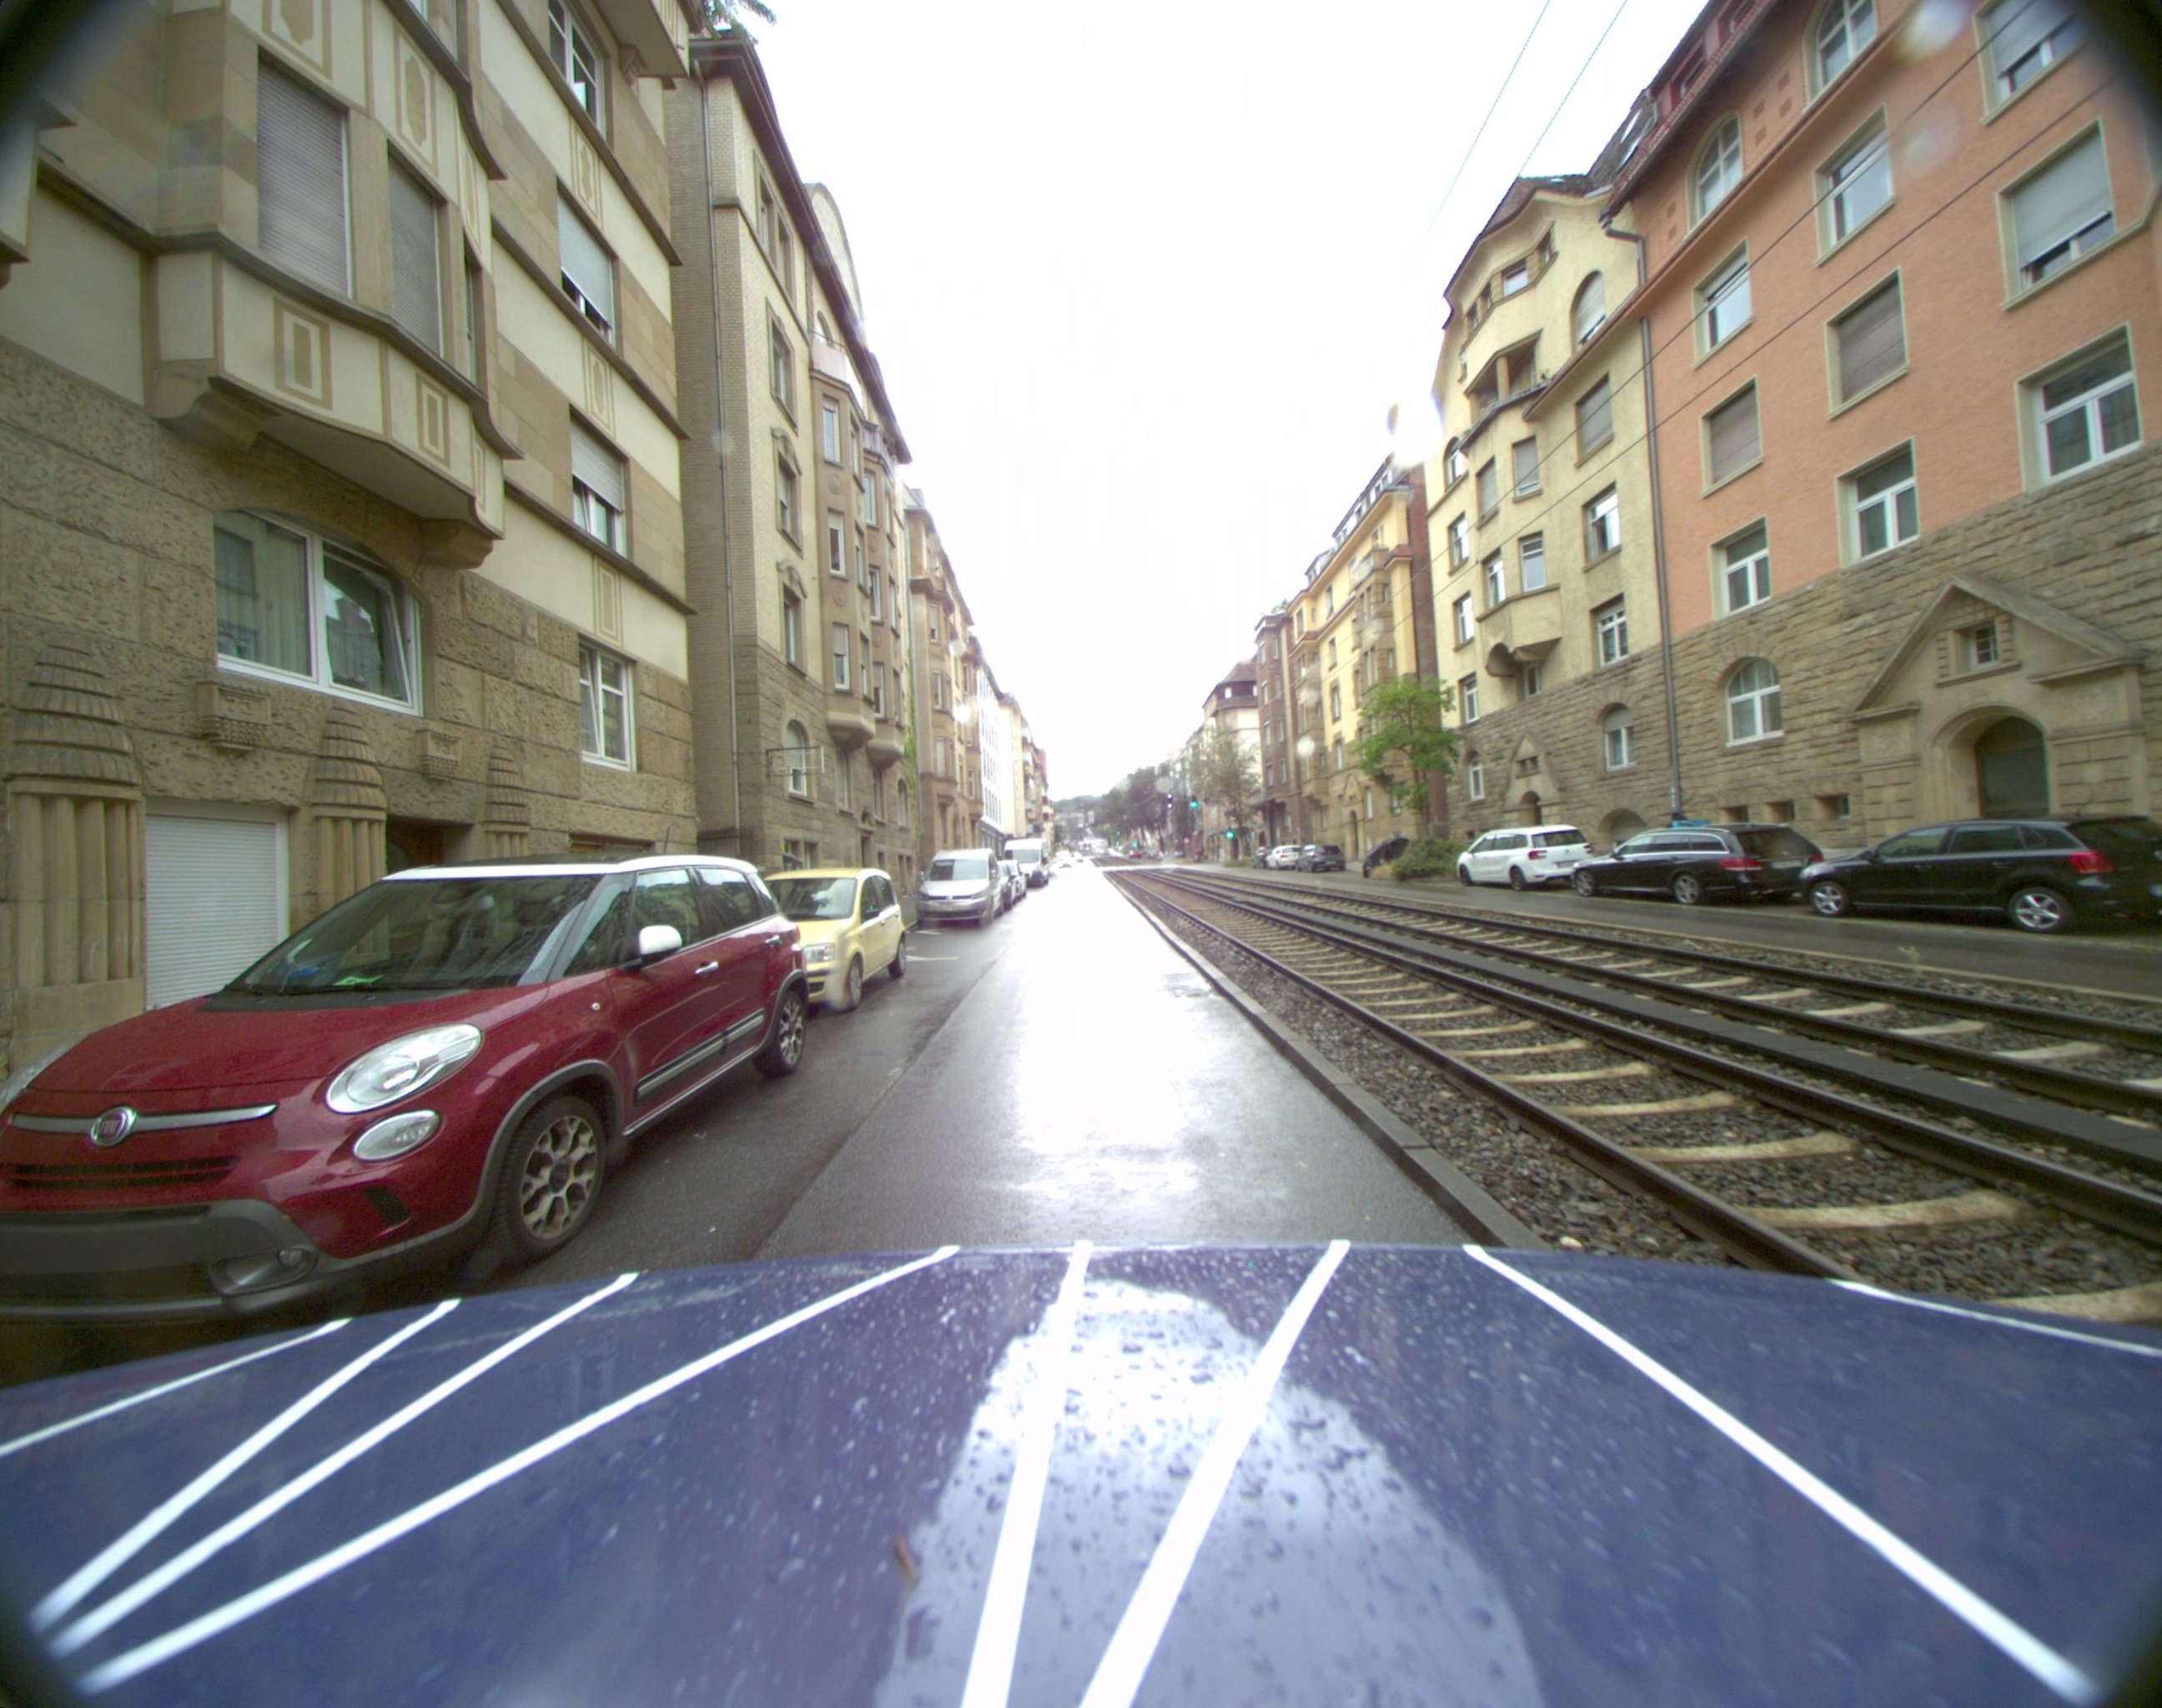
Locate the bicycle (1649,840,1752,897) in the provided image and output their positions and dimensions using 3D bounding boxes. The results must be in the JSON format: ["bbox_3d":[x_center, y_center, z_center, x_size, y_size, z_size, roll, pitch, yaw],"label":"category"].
[{"bbox_3d":[14.118,0.302,17.403,0.825,1.179,2.038,-3,0,6],"label":"bicycle"}]

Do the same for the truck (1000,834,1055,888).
[{"bbox_3d":[-2.716,0.340,39.939,2.235,2.521,6.143,-3,0,1],"label":"truck"}]

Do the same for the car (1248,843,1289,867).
[{"bbox_3d":[12.490,0.054,50.740,1.771,1.433,3.845,-3,0,1],"label":"car"}]

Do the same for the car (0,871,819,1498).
[{"bbox_3d":[-3.028,0.979,4.086,1.807,1.590,3.999,-3,0,-1],"label":"car"}]

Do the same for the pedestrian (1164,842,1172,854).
[{"bbox_3d":[14.759,-0.982,128.706,1.056,1.946,1.163,-3,1,2],"label":"pedestrian"}]

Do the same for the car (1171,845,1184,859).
[{"bbox_3d":[12.683,-0.257,99.537,1.583,1.669,3.790,-3,2,7],"label":"car"}]

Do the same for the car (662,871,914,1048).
[{"bbox_3d":[-3.184,1.042,9.035,1.580,1.520,3.578,-3,0,-1],"label":"car"}]

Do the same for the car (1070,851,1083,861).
[{"bbox_3d":[-0.721,0.290,122.430,1.998,1.562,4.000,-3,0,1],"label":"car"}]

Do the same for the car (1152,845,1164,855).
[{"bbox_3d":[12.851,-0.660,126.827,1.657,1.589,3.775,-3,0,1],"label":"car"}]

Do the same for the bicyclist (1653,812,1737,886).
[{"bbox_3d":[14.090,-0.111,17.488,0.886,1.588,1.253,-3,1,2],"label":"bicyclist"}]

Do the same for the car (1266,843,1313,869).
[{"bbox_3d":[12.479,0.107,45.646,1.771,1.433,4.031,-3,0,2],"label":"car"}]

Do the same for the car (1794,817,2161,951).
[{"bbox_3d":[12.534,0.307,10.459,1.935,1.488,3.641,-2,1,-2],"label":"car"}]

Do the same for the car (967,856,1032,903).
[{"bbox_3d":[-2.946,0.880,28.310,1.891,1.521,3.929,-3,0,1],"label":"car"}]

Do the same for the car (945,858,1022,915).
[{"bbox_3d":[-2.957,0.938,23.809,1.999,1.521,3.999,-3,0,-3],"label":"car"}]

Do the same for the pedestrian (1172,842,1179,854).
[{"bbox_3d":[16.043,-1.033,128.795,1.056,1.946,1.163,-3,1,2],"label":"pedestrian"}]

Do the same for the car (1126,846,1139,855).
[{"bbox_3d":[9.367,-0.633,137.607,1.808,1.514,4.963,-3,0,-1],"label":"car"}]

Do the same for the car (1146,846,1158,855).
[{"bbox_3d":[12.447,-0.659,133.696,1.632,1.537,3.801,-3,0,1],"label":"car"}]

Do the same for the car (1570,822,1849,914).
[{"bbox_3d":[12.297,0.239,15.376,1.847,1.486,4.601,-3,0,1],"label":"car"}]

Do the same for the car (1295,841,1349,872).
[{"bbox_3d":[12.511,0.118,39.606,1.678,1.433,3.845,-4,1,3],"label":"car"}]

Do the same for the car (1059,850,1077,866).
[{"bbox_3d":[-1.557,0.477,93.905,1.998,1.838,4.000,-3,0,1],"label":"car"}]

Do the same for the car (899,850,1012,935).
[{"bbox_3d":[-3.004,0.848,19.193,1.968,1.792,4.459,-3,0,1],"label":"car"}]

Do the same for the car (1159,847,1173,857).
[{"bbox_3d":[12.881,-0.301,115.358,1.771,1.507,3.845,-3,0,1],"label":"car"}]

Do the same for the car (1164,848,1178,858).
[{"bbox_3d":[12.585,-0.112,106.375,1.583,1.303,3.845,-3,0,1],"label":"car"}]

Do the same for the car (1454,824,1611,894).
[{"bbox_3d":[12.279,0.125,21.039,1.867,1.646,4.146,-3,0,1],"label":"car"}]
